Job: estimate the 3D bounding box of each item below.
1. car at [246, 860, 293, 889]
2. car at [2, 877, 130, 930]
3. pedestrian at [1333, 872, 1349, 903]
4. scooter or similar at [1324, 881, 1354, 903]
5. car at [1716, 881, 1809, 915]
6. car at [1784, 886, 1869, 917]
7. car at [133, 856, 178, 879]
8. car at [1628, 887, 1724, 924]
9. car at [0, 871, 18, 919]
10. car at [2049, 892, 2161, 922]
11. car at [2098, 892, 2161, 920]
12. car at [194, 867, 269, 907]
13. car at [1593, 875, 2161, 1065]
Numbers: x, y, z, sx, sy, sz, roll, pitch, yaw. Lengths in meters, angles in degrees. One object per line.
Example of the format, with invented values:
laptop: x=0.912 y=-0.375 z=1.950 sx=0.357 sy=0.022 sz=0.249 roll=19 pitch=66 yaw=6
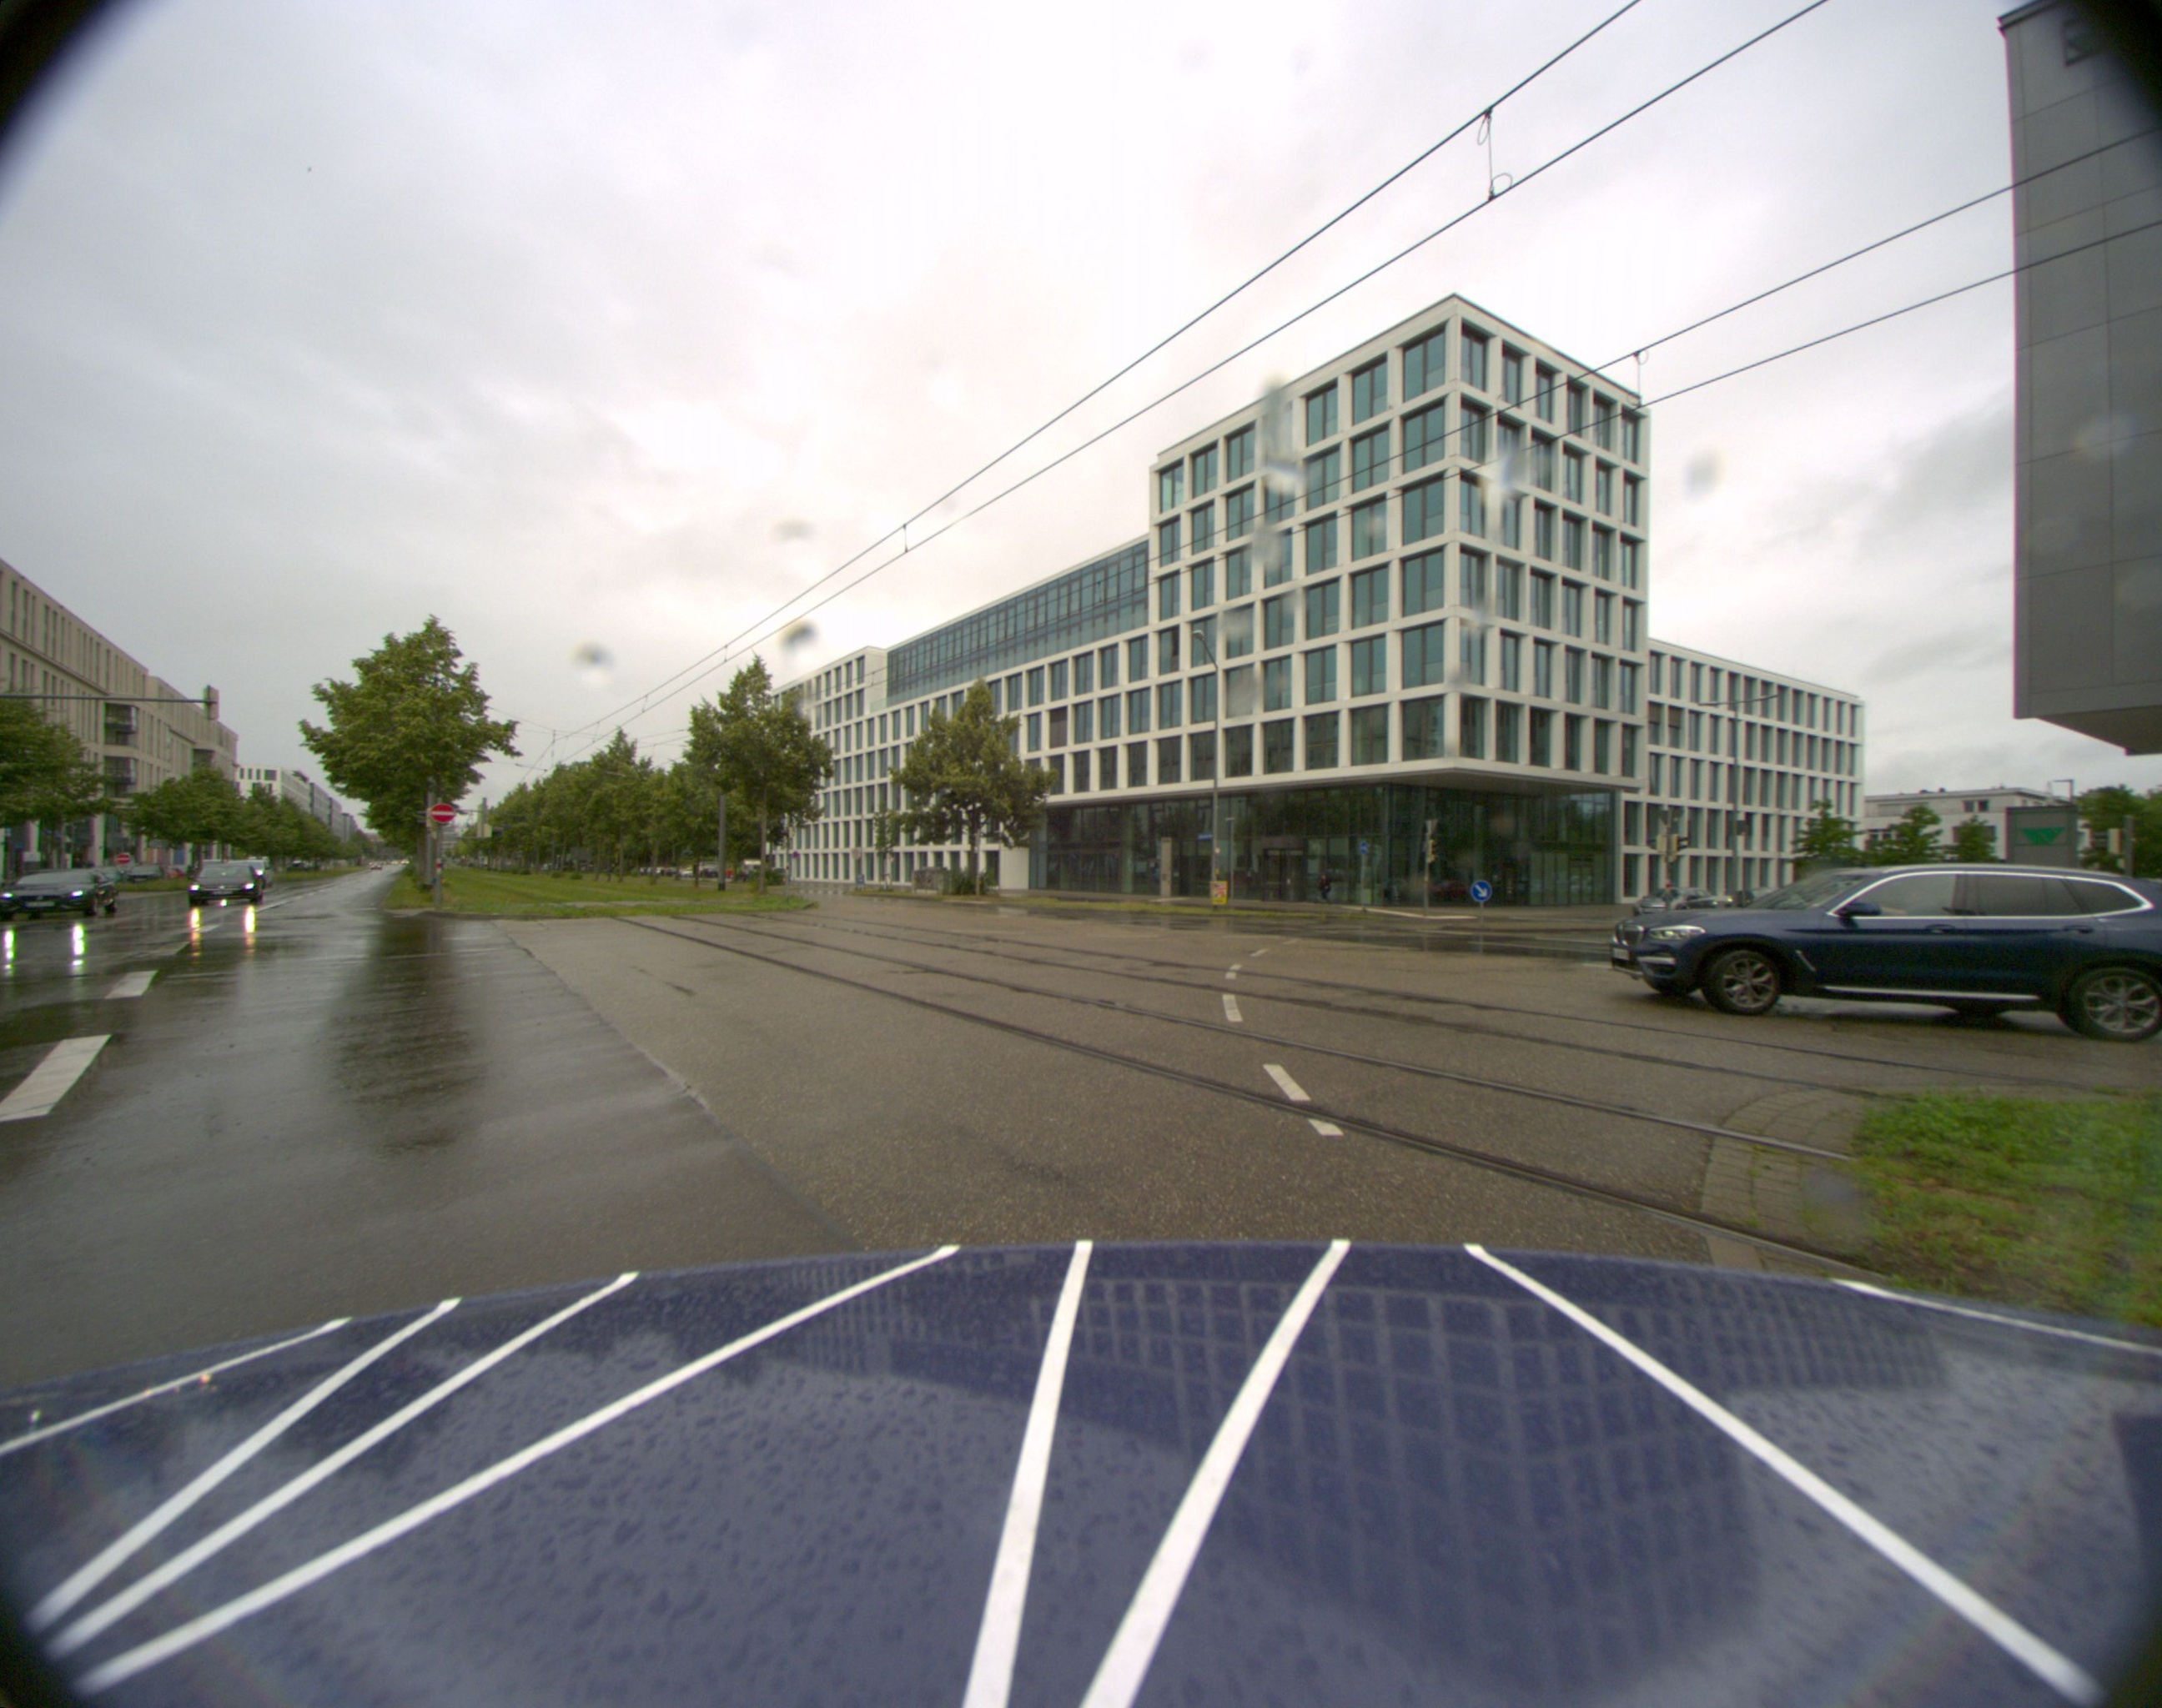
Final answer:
car: x=-55.023 y=1.400 z=51.576 sx=1.762 sy=1.914 sz=3.990 roll=1 pitch=-2 yaw=-41
car: x=-31.504 y=1.501 z=23.712 sx=1.692 sy=1.520 sz=3.958 roll=1 pitch=-3 yaw=-43
pedestrian: x=14.169 y=1.816 z=41.445 sx=0.636 sy=1.634 sz=0.544 roll=1 pitch=1 yaw=-40
scooter or similar: x=14.094 y=2.046 z=41.469 sx=2.167 sy=1.145 sz=0.549 roll=1 pitch=-2 yaw=-43
car: x=31.658 y=2.017 z=35.268 sx=4.101 sy=1.427 sz=1.884 roll=0 pitch=-2 yaw=-28
car: x=37.805 y=2.366 z=38.512 sx=4.101 sy=1.427 sz=1.884 roll=0 pitch=-2 yaw=-28
car: x=-66.073 y=0.999 z=54.283 sx=3.919 sy=1.578 sz=1.647 roll=-3 pitch=-3 yaw=44
car: x=25.208 y=2.128 z=32.163 sx=4.102 sy=1.427 sz=1.883 roll=0 pitch=-2 yaw=-32
car: x=-45.959 y=1.717 z=31.323 sx=3.989 sy=2.001 sz=1.921 roll=-3 pitch=-3 yaw=44
car: x=56.782 y=2.851 z=41.394 sx=2.003 sy=1.498 sz=4.651 roll=0 pitch=-2 yaw=-27
car: x=61.781 y=2.943 z=43.084 sx=2.003 sy=1.498 sz=4.651 roll=0 pitch=-2 yaw=-27
car: x=-34.151 y=1.315 z=30.620 sx=1.662 sy=1.520 sz=3.765 roll=1 pitch=-3 yaw=-43
car: x=8.725 y=1.110 z=8.423 sx=4.705 sy=1.650 sz=1.933 roll=1 pitch=-1 yaw=20
